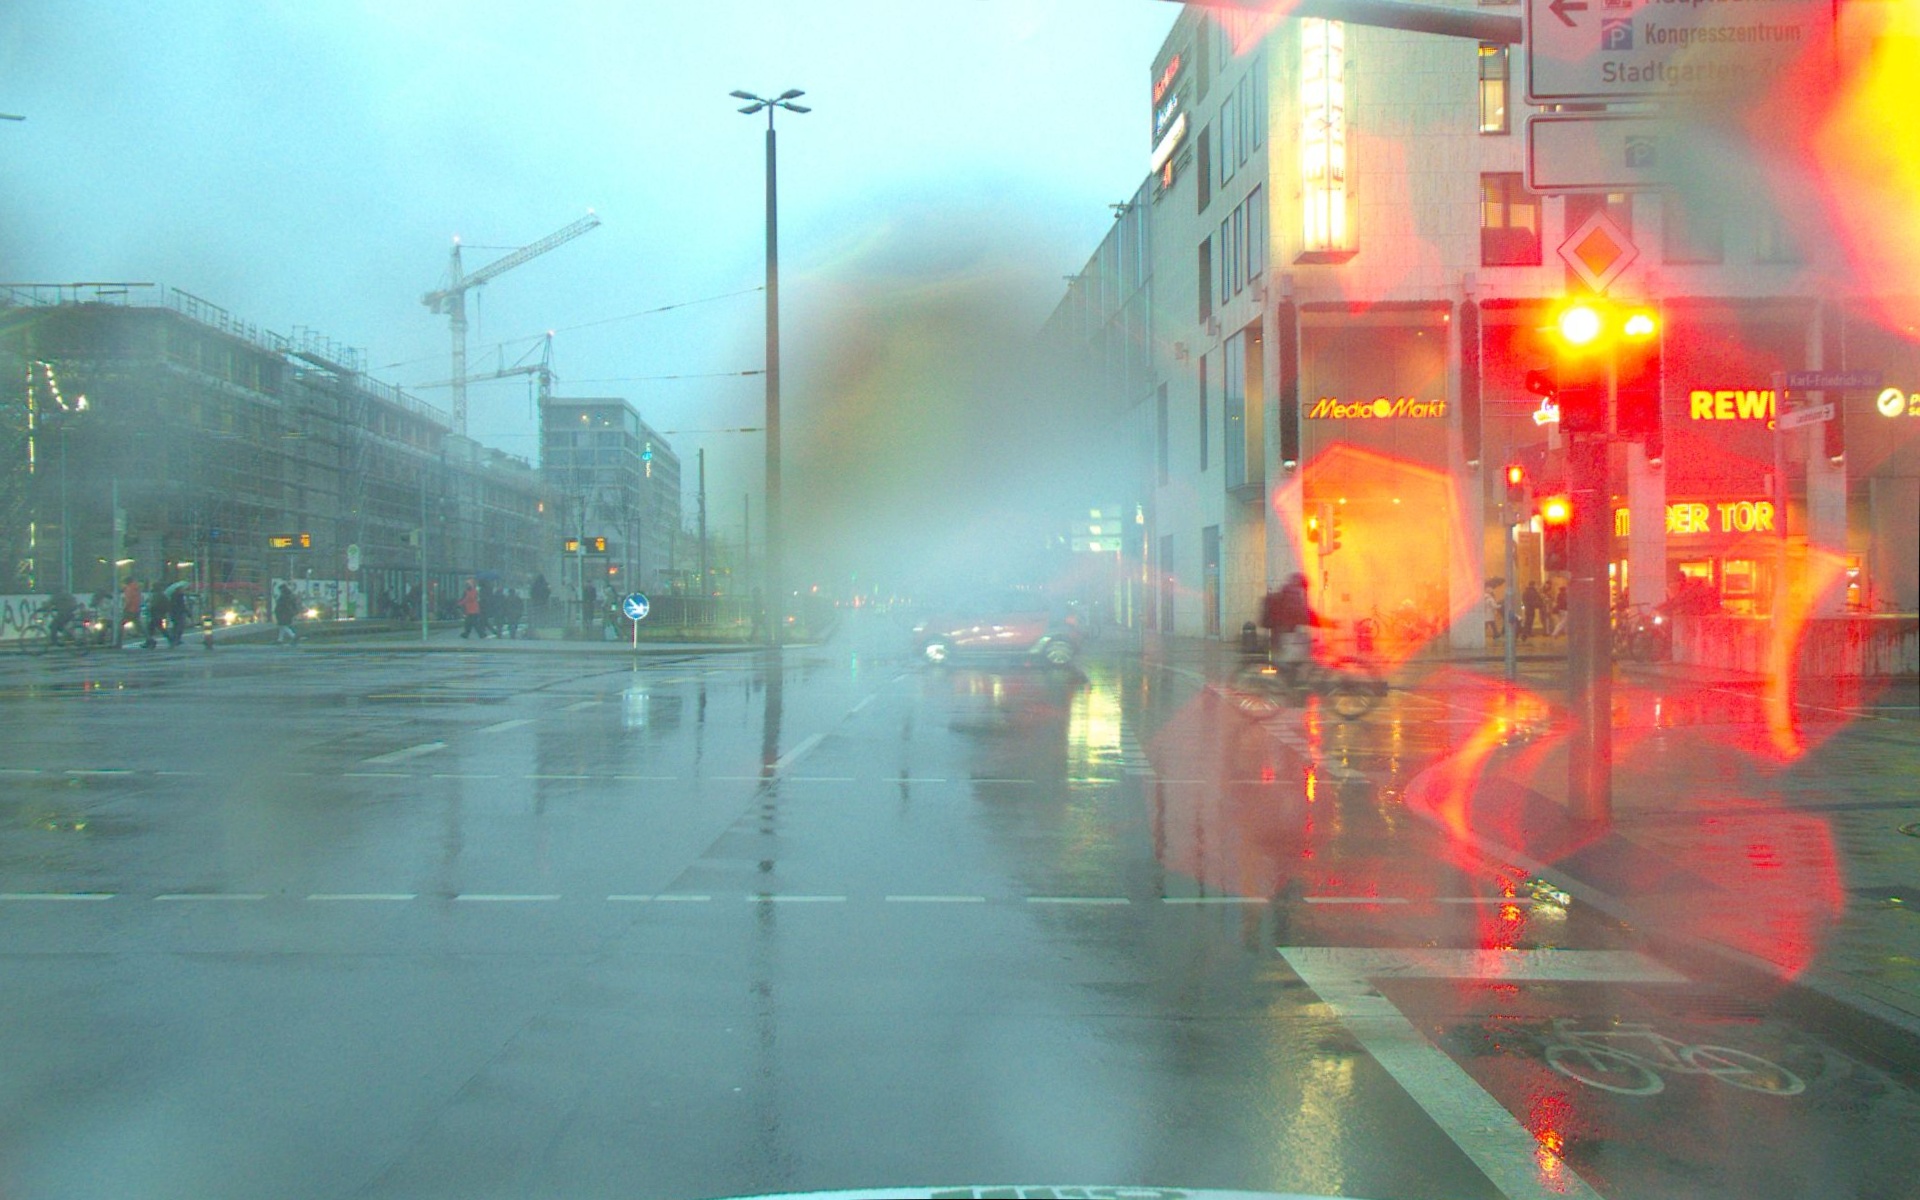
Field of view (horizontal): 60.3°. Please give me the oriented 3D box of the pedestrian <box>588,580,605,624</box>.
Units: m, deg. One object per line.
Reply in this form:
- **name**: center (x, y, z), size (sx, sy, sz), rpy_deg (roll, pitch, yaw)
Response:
- **pedestrian**: center (-14.897, 0.069, 67.783), size (0.648, 1.776, 0.619), rpy_deg (-1, 0, -11)

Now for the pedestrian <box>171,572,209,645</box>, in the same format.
- **pedestrian**: center (-21.819, 0.243, 46.875), size (0.778, 2.049, 0.745), rpy_deg (-1, 0, -11)

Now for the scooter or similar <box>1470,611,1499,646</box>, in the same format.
- **scooter or similar**: center (15.592, 0.843, 49.137), size (0.726, 1.011, 0.400), rpy_deg (-1, 0, 0)

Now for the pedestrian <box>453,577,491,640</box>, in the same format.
- **pedestrian**: center (-13.542, 0.235, 45.905), size (0.814, 1.709, 0.619), rpy_deg (-1, 0, 25)

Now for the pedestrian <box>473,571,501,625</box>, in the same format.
- **pedestrian**: center (-15.436, -0.064, 53.978), size (0.609, 1.776, 0.610), rpy_deg (-1, 0, 40)

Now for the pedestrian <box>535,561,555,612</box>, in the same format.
- **pedestrian**: center (-14.780, -0.475, 58.907), size (0.648, 1.776, 0.734), rpy_deg (-1, 0, -11)

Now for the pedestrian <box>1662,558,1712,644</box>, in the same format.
- **pedestrian**: center (13.989, 0.016, 31.825), size (0.764, 1.623, 0.613), rpy_deg (-1, 0, 14)

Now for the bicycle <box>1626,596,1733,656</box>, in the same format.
- **bicycle**: center (13.841, 0.499, 31.856), size (1.806, 1.112, 0.618), rpy_deg (-1, 0, 14)

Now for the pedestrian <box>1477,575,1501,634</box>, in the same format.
- **pedestrian**: center (15.746, 0.141, 49.209), size (0.526, 1.748, 0.500), rpy_deg (-1, 0, 37)

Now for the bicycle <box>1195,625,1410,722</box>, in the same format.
- **bicycle**: center (3.912, 0.832, 18.965), size (2.324, 1.051, 0.617), rpy_deg (-1, 0, -1)

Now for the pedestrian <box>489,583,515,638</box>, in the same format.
- **pedestrian**: center (-13.854, 0.317, 50.033), size (0.604, 1.647, 0.702), rpy_deg (-1, 0, -29)

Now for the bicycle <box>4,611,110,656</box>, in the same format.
- **bicycle**: center (-20.681, 0.766, 37.897), size (2.085, 1.009, 0.541), rpy_deg (0, -4, 0)

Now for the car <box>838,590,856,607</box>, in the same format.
- **car**: center (-13.743, -0.164, 201.870), size (1.953, 2.049, 3.999), rpy_deg (1, -1, -1)

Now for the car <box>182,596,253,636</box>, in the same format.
- **car**: center (-38.912, 0.831, 86.763), size (1.953, 2.049, 3.999), rpy_deg (-1, 0, -1)

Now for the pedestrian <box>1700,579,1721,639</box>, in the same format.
- **pedestrian**: center (22.546, 0.272, 49.689), size (0.501, 1.791, 0.374), rpy_deg (-1, 0, 12)

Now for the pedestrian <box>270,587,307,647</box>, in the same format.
- **pedestrian**: center (-18.723, 0.466, 46.119), size (0.692, 1.647, 0.680), rpy_deg (-1, 0, 22)

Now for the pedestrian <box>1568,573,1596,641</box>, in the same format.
- **pedestrian**: center (15.945, 0.176, 42.419), size (0.526, 1.715, 0.547), rpy_deg (-1, 0, 37)

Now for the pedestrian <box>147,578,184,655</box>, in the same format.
- **pedestrian**: center (-21.206, 0.432, 44.130), size (0.770, 2.049, 0.604), rpy_deg (0, 0, -39)

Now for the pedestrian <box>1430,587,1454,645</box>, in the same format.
- **pedestrian**: center (14.612, 0.482, 50.135), size (0.526, 1.748, 0.500), rpy_deg (-1, 0, 37)

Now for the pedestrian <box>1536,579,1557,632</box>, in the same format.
- **pedestrian**: center (19.476, 0.177, 54.934), size (0.526, 1.748, 0.500), rpy_deg (-1, 0, 37)

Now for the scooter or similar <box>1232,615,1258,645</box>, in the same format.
- **scooter or similar**: center (8.865, 0.935, 51.395), size (0.726, 0.932, 0.400), rpy_deg (-1, 0, 0)

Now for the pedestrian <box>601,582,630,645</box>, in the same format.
- **pedestrian**: center (-9.893, 0.394, 47.464), size (0.688, 1.791, 0.652), rpy_deg (-1, 0, -1)

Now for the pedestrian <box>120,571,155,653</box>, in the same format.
- **pedestrian**: center (-21.549, 0.315, 43.316), size (0.682, 2.124, 0.604), rpy_deg (0, 0, -41)

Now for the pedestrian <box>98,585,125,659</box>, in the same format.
- **pedestrian**: center (-23.893, 0.608, 46.595), size (0.498, 2.049, 0.638), rpy_deg (-1, 0, -11)

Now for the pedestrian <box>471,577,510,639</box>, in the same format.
- **pedestrian**: center (-13.202, 0.223, 46.514), size (0.826, 1.718, 0.676), rpy_deg (-1, 0, 27)

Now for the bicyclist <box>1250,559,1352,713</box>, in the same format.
- **bicyclist**: center (3.905, 0.405, 18.977), size (1.012, 1.726, 0.617), rpy_deg (-1, 0, -1)

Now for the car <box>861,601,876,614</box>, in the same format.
- **car**: center (-12.983, 1.127, 234.418), size (1.850, 1.814, 3.713), rpy_deg (1, -1, -1)

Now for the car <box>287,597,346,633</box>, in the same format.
- **car**: center (-38.073, 0.860, 97.936), size (1.953, 2.049, 3.999), rpy_deg (-1, 0, -1)

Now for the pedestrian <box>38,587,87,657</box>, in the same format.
- **pedestrian**: center (-20.535, 0.508, 37.844), size (0.798, 1.598, 0.536), rpy_deg (-1, -2, -1)

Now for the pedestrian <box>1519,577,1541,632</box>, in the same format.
- **pedestrian**: center (18.341, 0.142, 53.201), size (0.526, 1.748, 0.500), rpy_deg (-1, 0, 37)

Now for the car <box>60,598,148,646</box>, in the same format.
- **car**: center (-37.320, 0.936, 72.223), size (1.954, 2.049, 3.996), rpy_deg (-1, 0, -5)

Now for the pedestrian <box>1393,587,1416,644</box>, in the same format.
- **pedestrian**: center (13.541, 0.470, 50.365), size (0.526, 1.748, 0.500), rpy_deg (-1, 0, 37)

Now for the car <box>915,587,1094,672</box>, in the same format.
- **car**: center (0.847, 0.590, 33.359), size (3.497, 1.610, 1.676), rpy_deg (-1, -1, -2)

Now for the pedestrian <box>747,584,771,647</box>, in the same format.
- **pedestrian**: center (-5.792, 0.448, 47.595), size (0.620, 1.803, 0.483), rpy_deg (-1, 0, -2)

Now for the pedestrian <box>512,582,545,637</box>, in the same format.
- **pedestrian**: center (-13.045, 0.285, 50.010), size (0.736, 1.635, 0.802), rpy_deg (-1, 0, -34)

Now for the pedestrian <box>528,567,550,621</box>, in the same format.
- **pedestrian**: center (-13.920, -0.186, 54.723), size (0.607, 1.776, 0.612), rpy_deg (-1, 0, -6)
